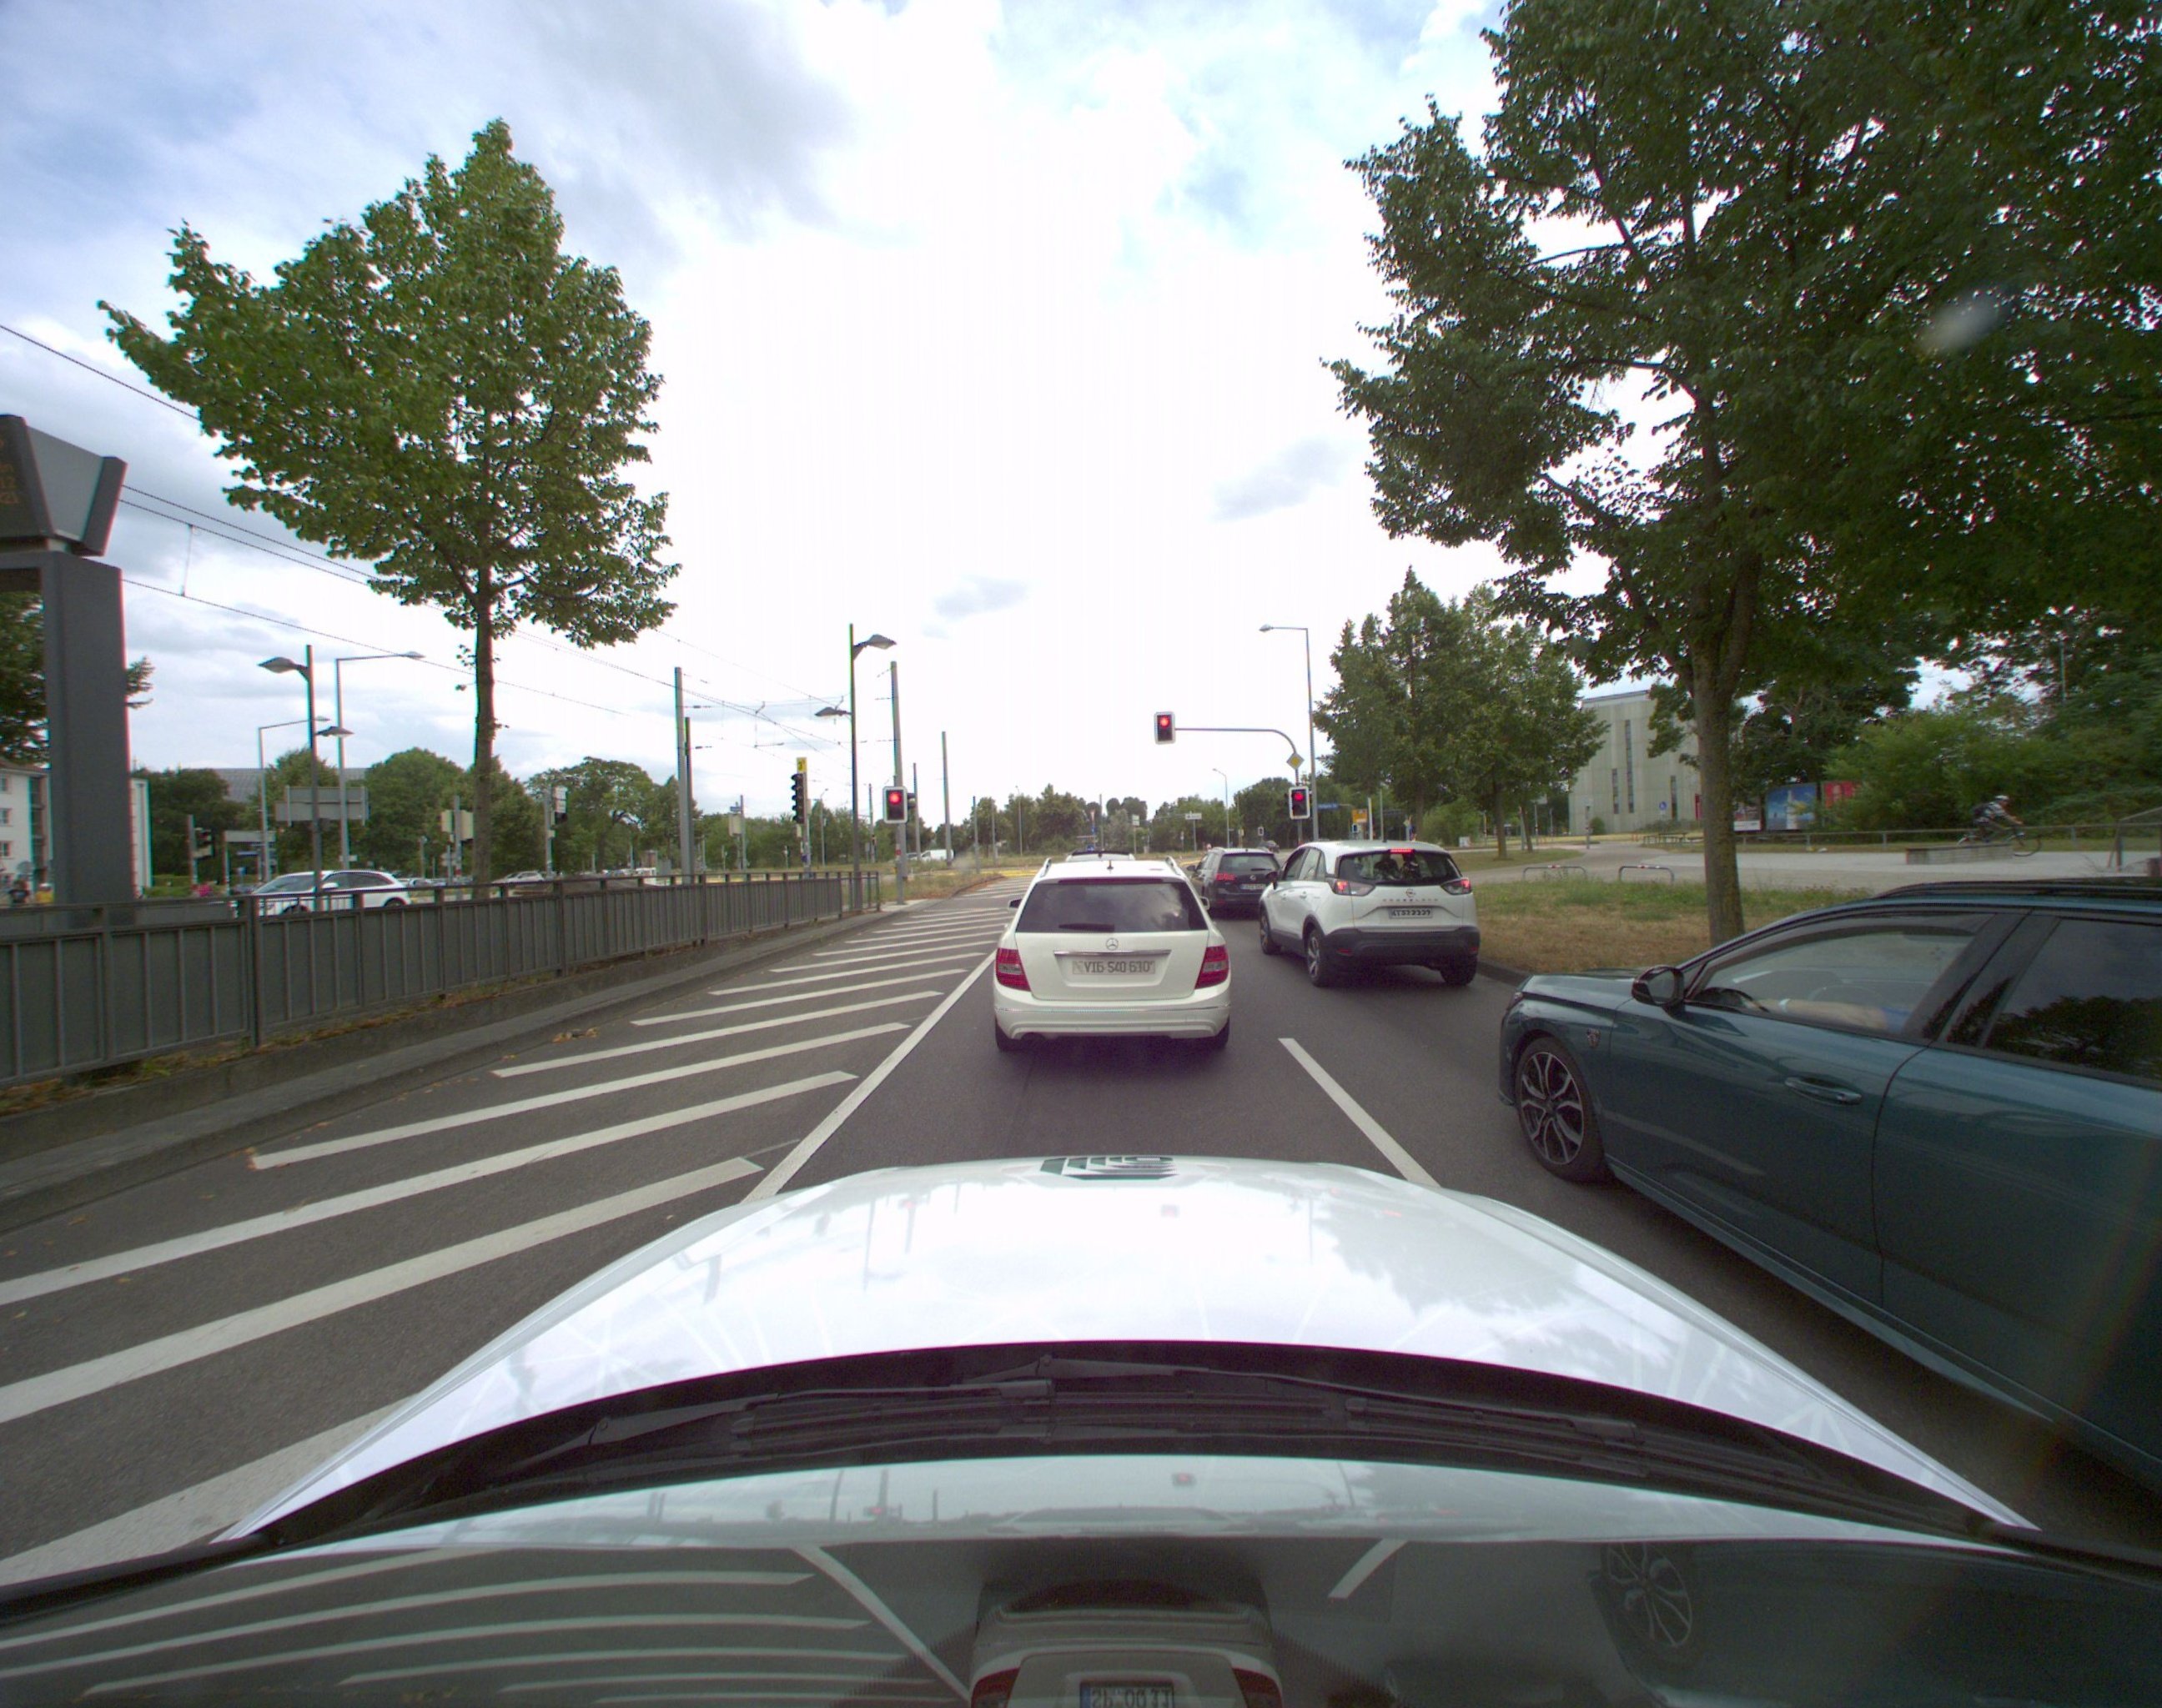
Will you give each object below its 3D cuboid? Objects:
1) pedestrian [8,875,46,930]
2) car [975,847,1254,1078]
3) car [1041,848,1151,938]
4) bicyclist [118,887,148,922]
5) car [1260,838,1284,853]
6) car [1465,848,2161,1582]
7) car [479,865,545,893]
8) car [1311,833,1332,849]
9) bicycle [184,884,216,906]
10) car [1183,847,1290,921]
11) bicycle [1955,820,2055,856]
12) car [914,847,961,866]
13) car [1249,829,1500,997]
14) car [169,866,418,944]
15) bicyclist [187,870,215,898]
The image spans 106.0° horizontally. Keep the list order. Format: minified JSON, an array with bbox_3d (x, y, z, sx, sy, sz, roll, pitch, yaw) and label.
[{"bbox_3d":[-36.664,1.667,28.347,0.652,1.849,0.486,-2,0,-36],"label":"pedestrian"},{"bbox_3d":[0.218,0.682,7.170,1.768,1.448,3.910,-1,0,0],"label":"car"},{"bbox_3d":[0.246,0.629,15.248,1.768,1.448,3.910,-1,0,0],"label":"car"},{"bbox_3d":[-51.837,2.726,44.535,0.835,1.834,0.775,-2,0,-36],"label":"bicyclist"},{"bbox_3d":[22.799,-0.974,97.314,1.975,1.791,4.023,0,0,26],"label":"car"},{"bbox_3d":[3.025,0.719,2.286,1.782,1.432,4.308,-1,0,-1],"label":"car"},{"bbox_3d":[-48.253,2.068,69.151,1.978,1.638,4.025,14,9,28],"label":"car"},{"bbox_3d":[25.964,-1.368,87.906,1.771,1.636,4.416,-2,1,11],"label":"car"},{"bbox_3d":[-50.323,2.327,46.546,0.813,1.129,2.676,-2,0,-39],"label":"bicycle"},{"bbox_3d":[3.338,0.583,18.167,1.619,1.448,3.910,-1,0,0],"label":"car"},{"bbox_3d":[27.601,-0.470,24.349,1.917,0.984,0.567,-2,0,21],"label":"bicycle"},{"bbox_3d":[-16.853,0.311,95.660,5.003,2.013,1.986,-2,0,-22],"label":"car"},{"bbox_3d":[3.344,0.578,10.127,1.780,1.624,3.912,-2,0,2],"label":"car"},{"bbox_3d":[-19.933,1.213,20.967,1.986,1.618,4.387,-2,0,2],"label":"car"},{"bbox_3d":[-50.200,1.693,46.481,0.895,1.562,0.742,-2,0,-34],"label":"bicyclist"}]
